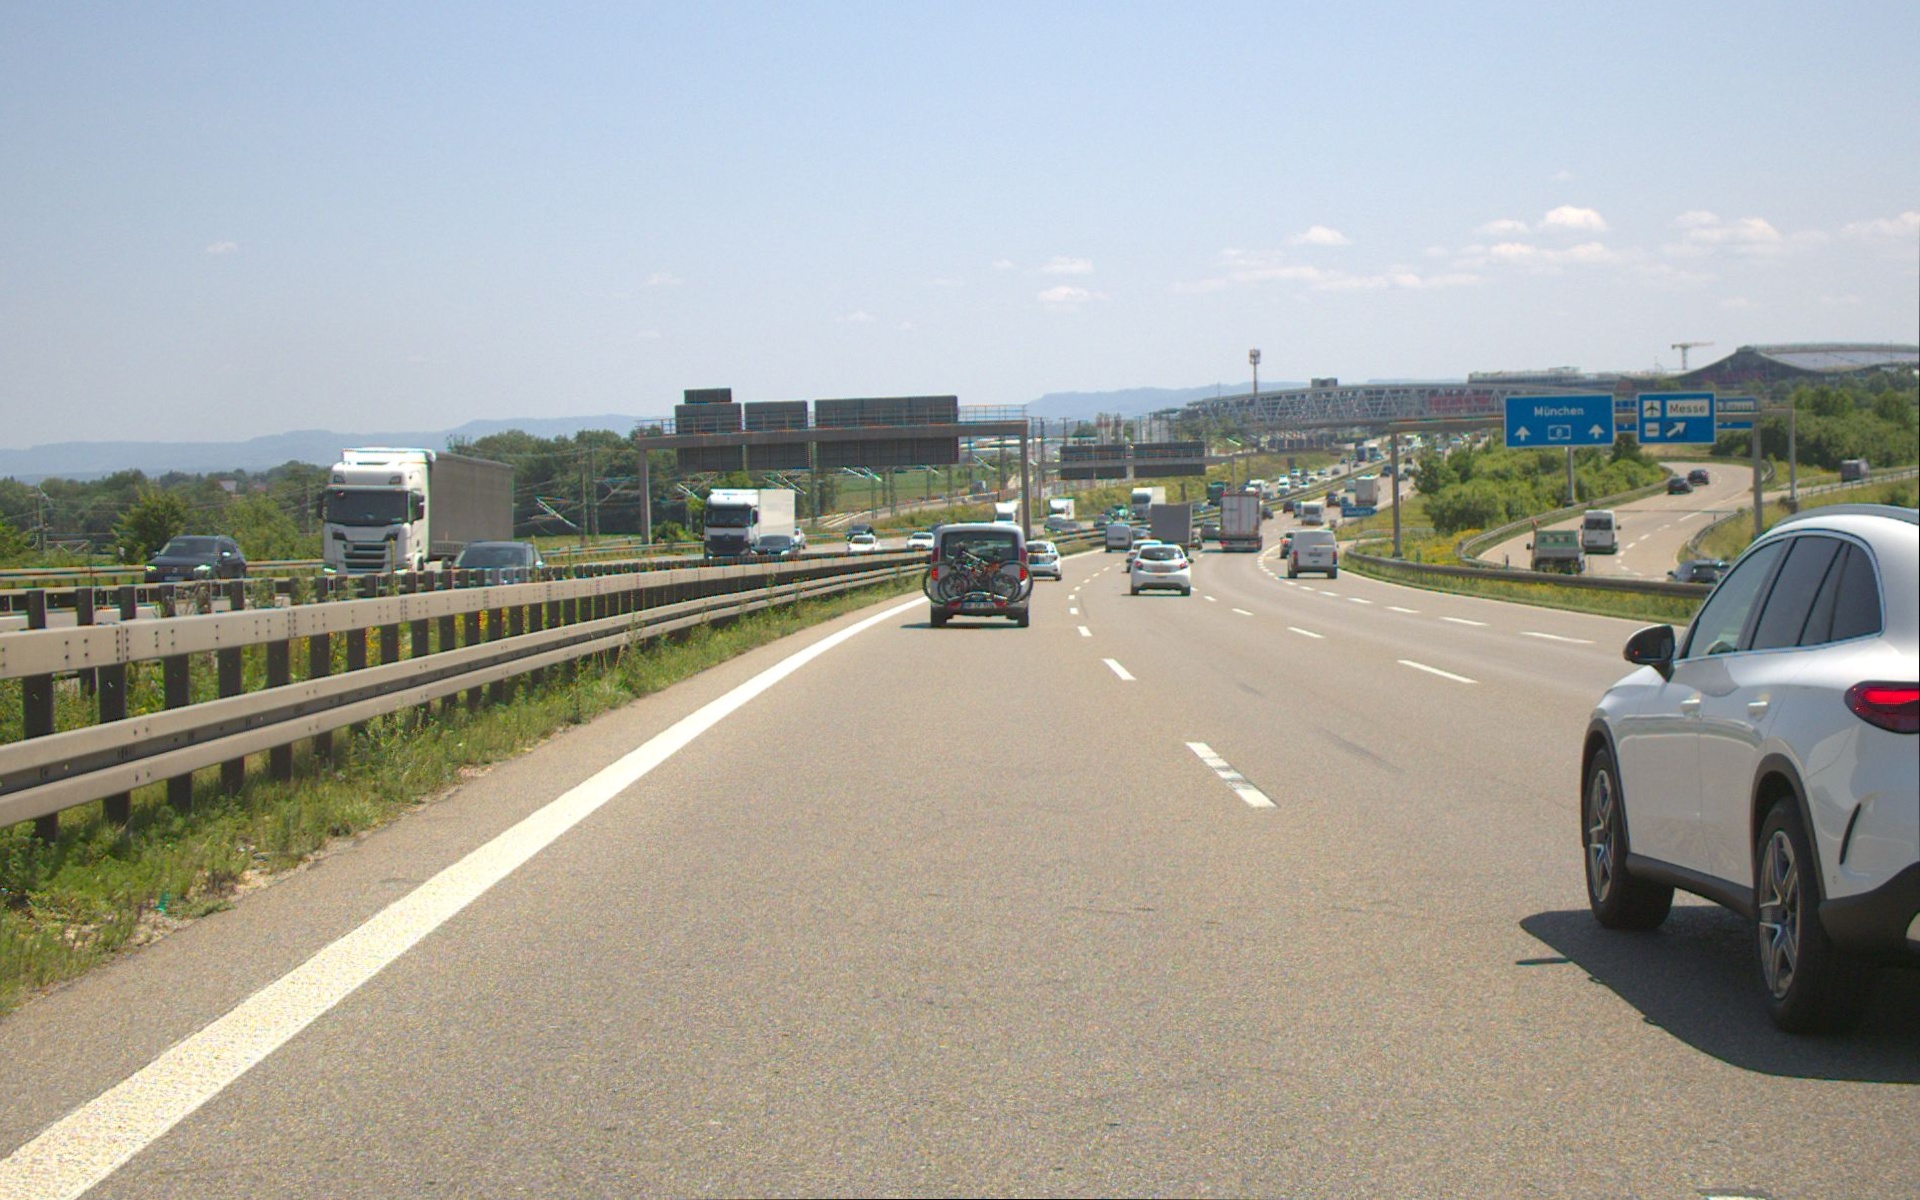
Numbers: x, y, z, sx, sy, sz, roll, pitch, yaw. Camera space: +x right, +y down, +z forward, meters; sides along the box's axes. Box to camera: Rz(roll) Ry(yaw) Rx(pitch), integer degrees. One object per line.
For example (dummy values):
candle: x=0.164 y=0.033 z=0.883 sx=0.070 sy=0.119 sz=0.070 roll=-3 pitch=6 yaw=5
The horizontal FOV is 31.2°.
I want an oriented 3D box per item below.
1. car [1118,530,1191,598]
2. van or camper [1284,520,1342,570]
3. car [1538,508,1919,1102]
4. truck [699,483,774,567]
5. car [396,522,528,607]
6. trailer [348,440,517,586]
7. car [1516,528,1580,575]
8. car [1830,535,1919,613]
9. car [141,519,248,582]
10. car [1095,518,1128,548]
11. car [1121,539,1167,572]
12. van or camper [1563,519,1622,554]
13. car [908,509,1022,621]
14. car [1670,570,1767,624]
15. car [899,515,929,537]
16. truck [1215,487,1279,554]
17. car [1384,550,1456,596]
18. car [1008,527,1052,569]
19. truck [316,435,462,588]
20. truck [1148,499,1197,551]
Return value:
car: x=5.617 y=-1.055 z=99.805 sx=1.926 sy=1.912 sz=4.518 roll=0 pitch=1 yaw=1
van or camper: x=14.477 y=-2.267 z=141.077 sx=2.156 sy=2.007 sz=4.304 roll=0 pitch=1 yaw=3
car: x=3.389 y=0.540 z=11.993 sx=1.898 sy=1.641 sz=4.999 roll=0 pitch=1 yaw=0
truck: x=-11.456 y=-3.834 z=176.803 sx=3.035 sy=4.226 sz=6.684 roll=1 pitch=1 yaw=3
car: x=-9.755 y=-0.718 z=67.631 sx=1.847 sy=1.592 sz=4.409 roll=1 pitch=1 yaw=1
trailer: x=-15.779 y=-2.587 z=103.803 sx=2.890 sy=4.099 sz=12.586 roll=1 pitch=1 yaw=1
car: x=25.692 y=-2.123 z=150.336 sx=1.993 sy=2.007 sz=4.000 roll=0 pitch=1 yaw=-2
car: x=23.385 y=-0.664 z=86.644 sx=1.939 sy=1.917 sz=4.179 roll=0 pitch=1 yaw=1
car: x=-20.069 y=-1.303 z=90.257 sx=1.878 sy=1.608 sz=4.000 roll=1 pitch=1 yaw=1
car: x=10.142 y=-4.497 z=230.259 sx=2.186 sy=1.996 sz=4.000 roll=0 pitch=1 yaw=2
car: x=8.322 y=-2.025 z=155.534 sx=1.982 sy=1.468 sz=4.000 roll=0 pitch=1 yaw=2
van or camper: x=37.428 y=-3.736 z=203.557 sx=2.529 sy=2.007 sz=4.461 roll=0 pitch=1 yaw=-2
car: x=0.132 y=-0.628 z=61.527 sx=1.927 sy=1.912 sz=4.948 roll=0 pitch=1 yaw=1
car: x=23.524 y=-0.110 z=106.695 sx=1.993 sy=1.590 sz=4.000 roll=0 pitch=1 yaw=-2
car: x=-3.082 y=-4.971 z=231.341 sx=1.657 sy=1.398 sz=4.758 roll=1 pitch=1 yaw=3
truck: x=19.912 y=-5.552 z=237.832 sx=4.040 sy=4.247 sz=11.756 roll=0 pitch=3 yaw=7
car: x=17.106 y=-1.017 z=128.113 sx=1.993 sy=1.684 sz=4.000 roll=0 pitch=1 yaw=-2
car: x=2.693 y=-1.989 z=131.750 sx=1.576 sy=1.547 sz=3.964 roll=0 pitch=1 yaw=2
truck: x=-15.952 y=-2.463 z=96.397 sx=2.881 sy=4.103 sz=6.384 roll=1 pitch=1 yaw=1
truck: x=13.214 y=-4.602 z=213.146 sx=2.703 sy=3.098 sz=10.657 roll=0 pitch=1 yaw=5
